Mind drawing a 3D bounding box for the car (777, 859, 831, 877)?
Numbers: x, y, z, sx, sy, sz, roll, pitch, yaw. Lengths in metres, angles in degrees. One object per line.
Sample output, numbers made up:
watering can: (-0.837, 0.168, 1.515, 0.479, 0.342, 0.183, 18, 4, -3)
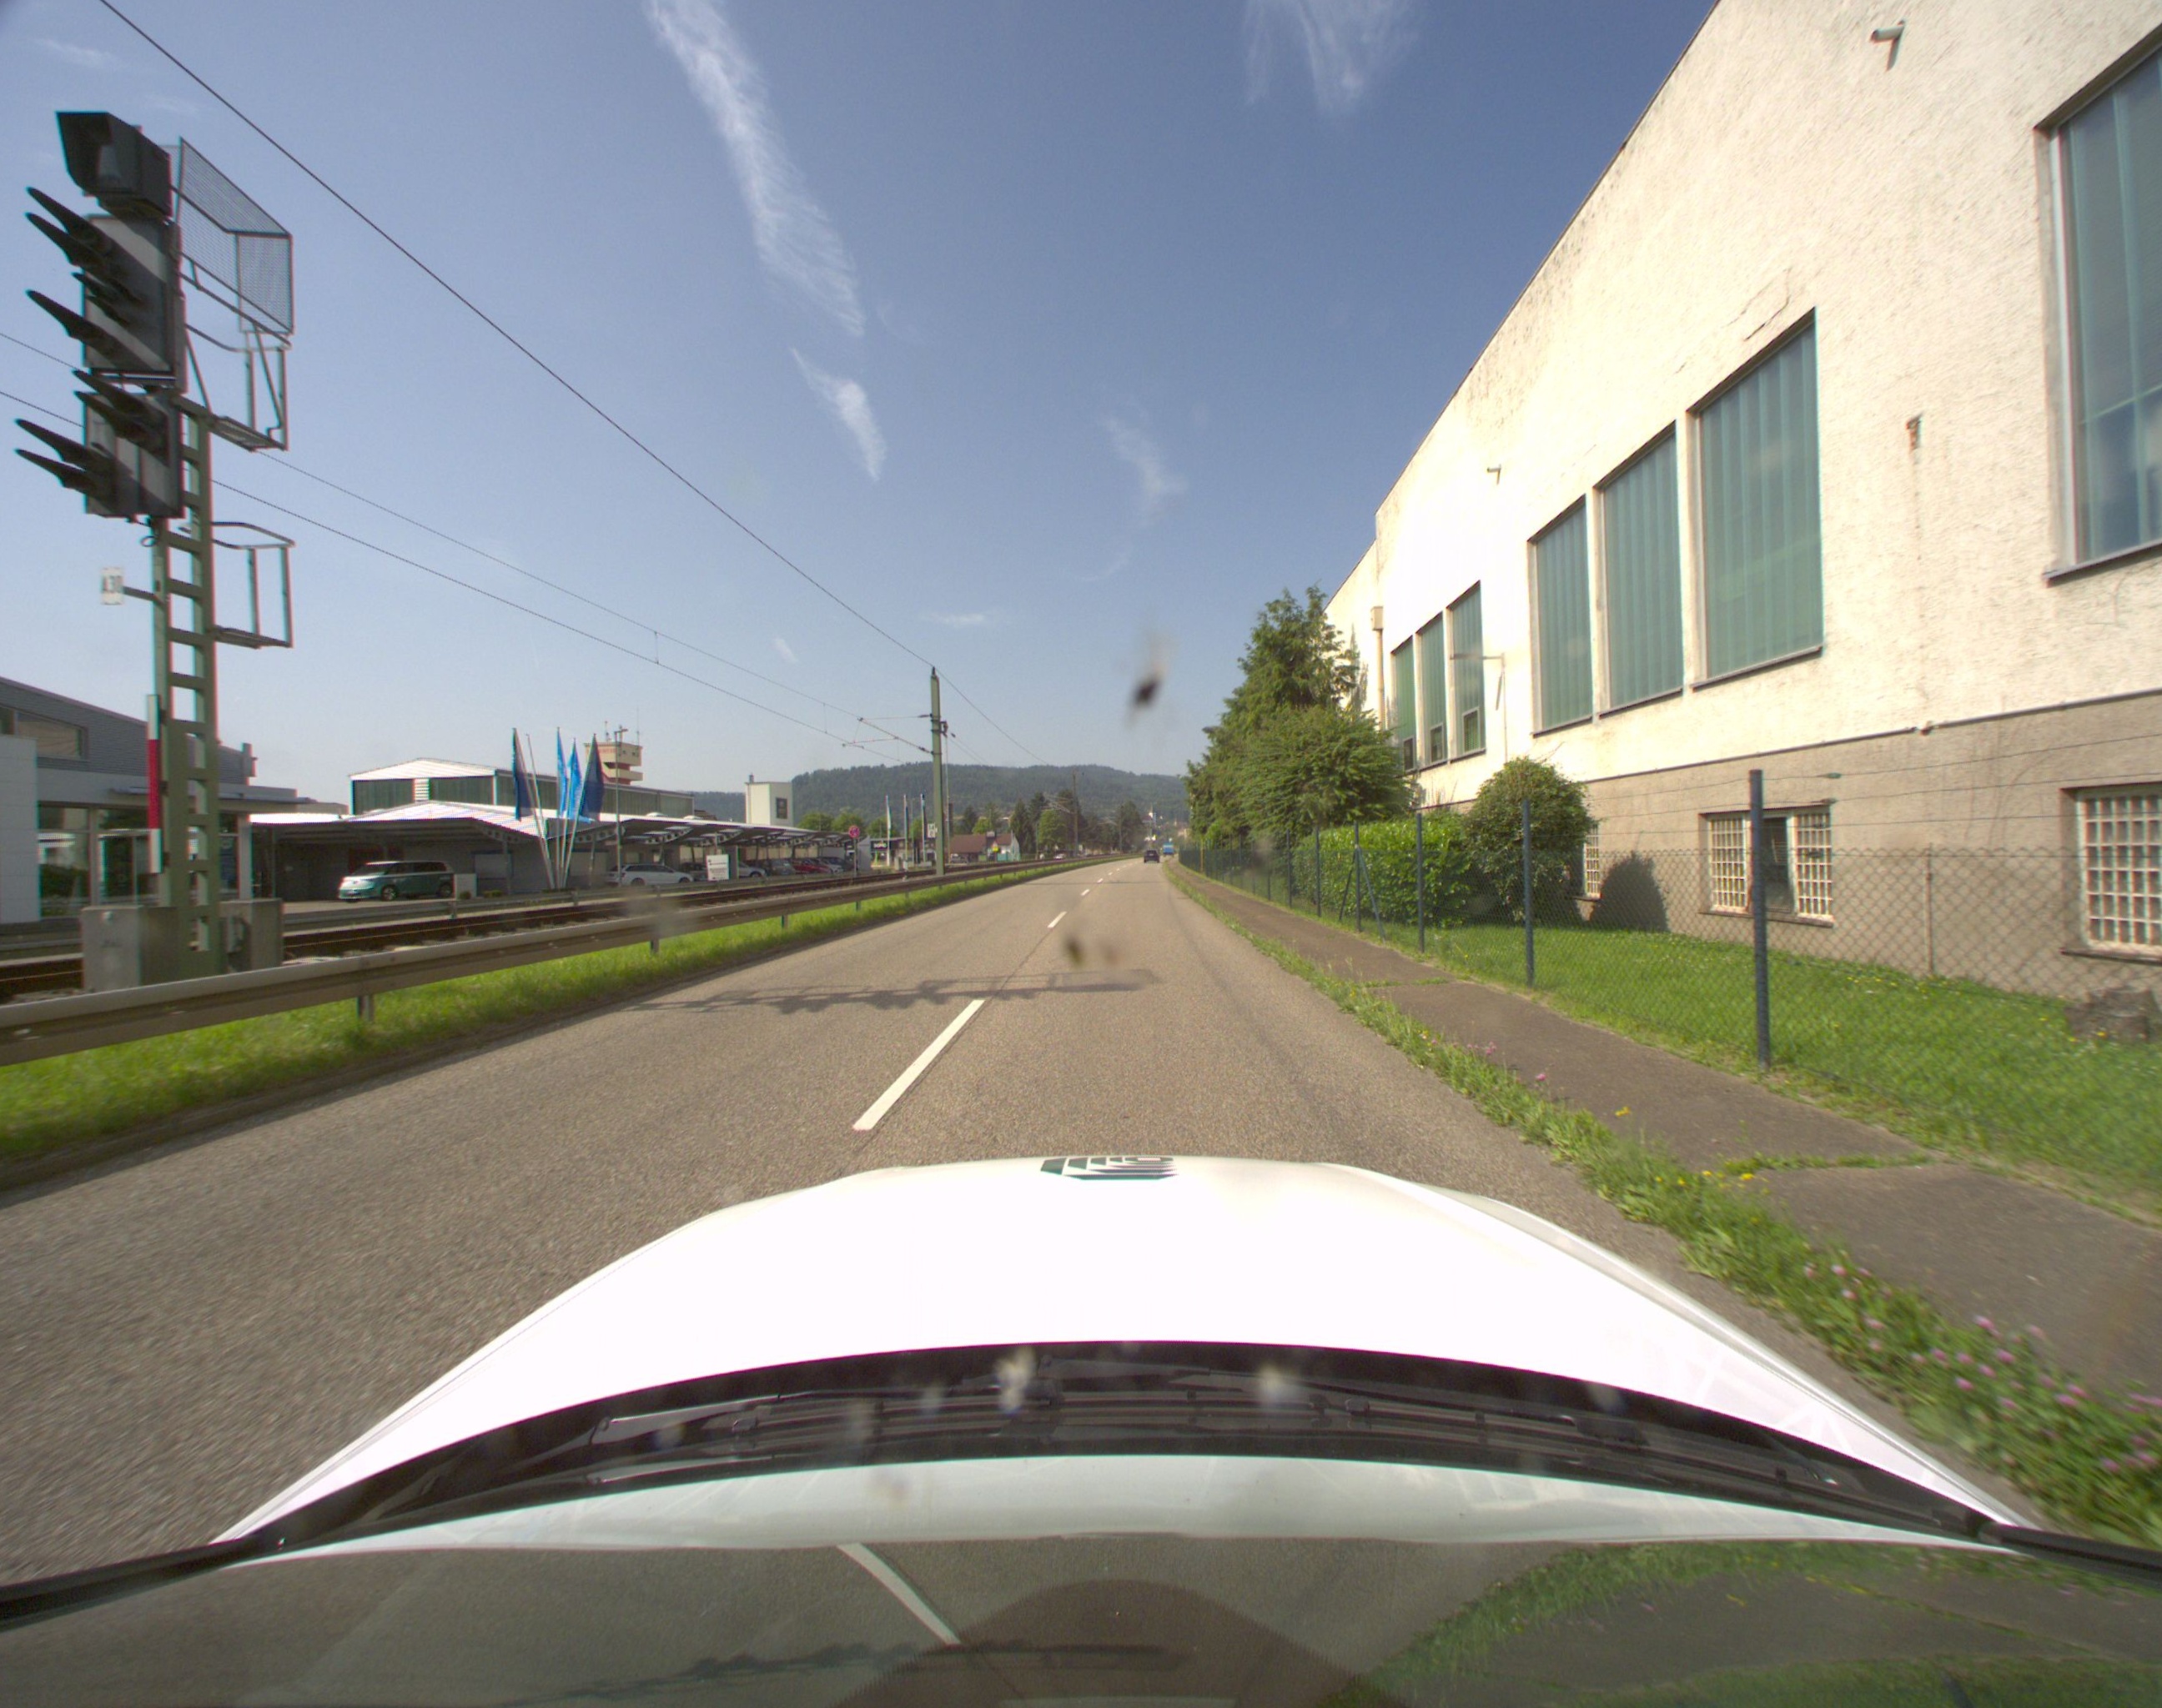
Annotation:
car: (-22.868, 1.156, 67.326, 3.940, 1.325, 1.503, 1, 0, 3)

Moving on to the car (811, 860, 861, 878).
car: (-22.362, 1.372, 74.421, 4.054, 1.622, 1.643, 1, 0, -43)

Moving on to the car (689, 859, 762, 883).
car: (-24.310, 1.143, 55.793, 4.290, 1.528, 1.827, 1, 0, -36)

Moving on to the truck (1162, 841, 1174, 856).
truck: (18.268, -1.139, 170.582, 2.299, 2.970, 5.980, -2, 0, 8)

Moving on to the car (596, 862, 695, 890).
car: (-24.251, 1.196, 45.505, 1.823, 1.385, 4.552, -2, 0, 34)

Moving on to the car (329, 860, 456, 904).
car: (-32.445, 1.249, 38.582, 1.890, 1.857, 4.559, -2, 0, 4)

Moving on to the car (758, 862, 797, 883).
car: (-23.465, 1.393, 62.890, 1.854, 1.505, 4.388, -2, 0, -33)

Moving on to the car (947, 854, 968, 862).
car: (-25.030, 0.806, 165.749, 3.814, 1.651, 1.717, -2, 0, 8)

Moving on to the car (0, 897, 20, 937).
car: (-41.068, 2.357, 29.154, 3.974, 1.420, 1.619, -2, 0, 0)

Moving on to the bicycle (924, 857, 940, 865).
bicycle: (-21.660, 1.053, 118.391, 0.721, 1.130, 2.337, -2, -1, 40)

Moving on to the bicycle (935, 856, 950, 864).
bicycle: (-21.150, 0.861, 124.572, 2.163, 1.130, 0.729, -2, -1, -4)

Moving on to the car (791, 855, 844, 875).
car: (-22.565, 0.937, 69.940, 3.940, 1.528, 1.664, 1, 0, 3)

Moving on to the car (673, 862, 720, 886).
car: (-23.979, 1.222, 50.759, 1.856, 1.342, 4.161, -2, 0, -37)

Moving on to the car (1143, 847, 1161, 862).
car: (8.649, 0.056, 99.141, 1.909, 1.640, 4.008, -1, 0, 7)

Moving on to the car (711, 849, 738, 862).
car: (-38.851, 0.169, 88.833, 1.449, 1.298, 3.484, -2, 0, -2)

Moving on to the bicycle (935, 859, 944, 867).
bicycle: (-21.113, 1.312, 121.675, 0.724, 1.130, 2.177, -2, 0, 5)

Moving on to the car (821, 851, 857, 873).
car: (-30.922, 1.080, 104.319, 2.362, 2.633, 6.166, -2, -2, 4)
